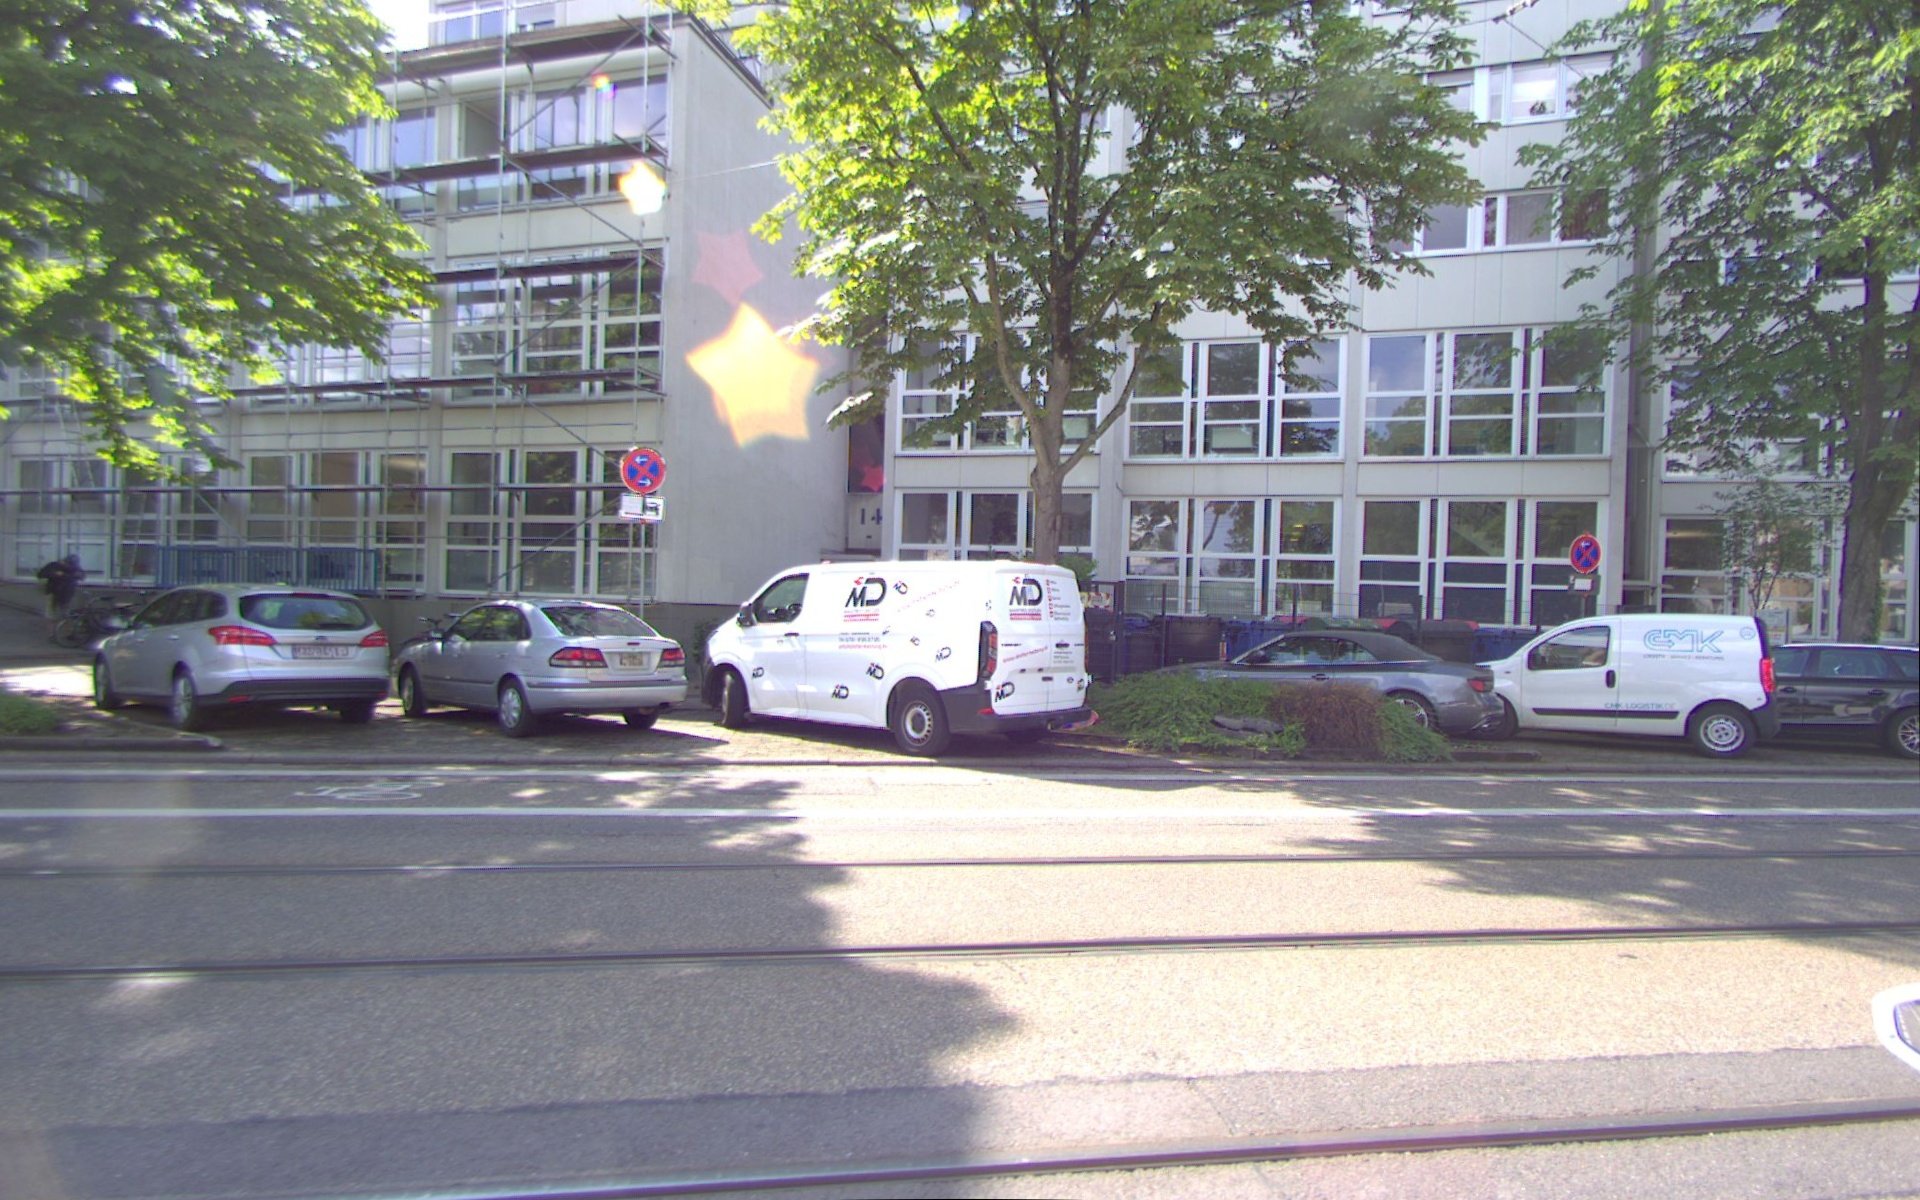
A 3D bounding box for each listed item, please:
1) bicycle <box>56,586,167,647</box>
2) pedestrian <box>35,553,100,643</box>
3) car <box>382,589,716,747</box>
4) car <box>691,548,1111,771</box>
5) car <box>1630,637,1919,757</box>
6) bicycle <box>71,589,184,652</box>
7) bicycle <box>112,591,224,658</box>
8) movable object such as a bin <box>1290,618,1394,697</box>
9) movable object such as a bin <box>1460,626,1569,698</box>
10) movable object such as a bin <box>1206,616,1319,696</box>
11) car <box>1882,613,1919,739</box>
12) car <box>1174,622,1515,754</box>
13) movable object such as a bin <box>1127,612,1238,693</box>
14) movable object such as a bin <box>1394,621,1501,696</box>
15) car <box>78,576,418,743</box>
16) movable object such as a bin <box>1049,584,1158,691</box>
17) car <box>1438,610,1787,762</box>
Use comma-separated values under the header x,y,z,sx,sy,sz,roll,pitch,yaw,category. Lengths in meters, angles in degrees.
x,y,z,sx,sy,sz,roll,pitch,yaw,category
-16.021,0.311,19.007,0.531,1.095,1.581,0,-1,15,bicycle
-16.762,-0.037,18.873,0.651,1.646,0.639,3,1,-17,pedestrian
-4.857,0.660,11.640,4.106,1.469,1.814,1,0,39,car
-0.817,0.520,11.362,4.614,2.024,1.960,1,0,40,car
11.571,1.277,13.778,3.934,1.436,1.755,0,-3,35,car
-15.264,0.372,18.462,0.531,1.107,1.581,0,-1,15,bicycle
-14.105,0.427,17.937,0.531,1.128,1.581,0,-1,14,bicycle
7.205,1.096,19.011,1.417,1.398,1.194,2,-3,-12,movable object such as a bin
10.635,1.193,19.309,1.416,1.300,1.170,2,-3,-10,movable object such as a bin
5.613,1.047,18.724,1.513,1.381,1.388,2,-3,-13,movable object such as a bin
17.633,1.234,15.268,5.083,1.979,1.911,0,-3,35,car
4.970,1.054,13.059,3.928,1.436,1.720,0,-3,30,car
4.046,0.972,18.358,1.513,1.381,1.388,2,-3,-13,movable object such as a bin
9.217,1.109,19.036,1.416,1.344,1.166,2,-3,-11,movable object such as a bin
-8.043,0.542,11.242,4.124,1.520,1.816,1,0,35,car
2.548,0.689,18.044,1.513,1.804,1.388,2,-3,-13,movable object such as a bin
8.464,1.028,13.222,3.656,1.715,1.754,0,-3,38,car
